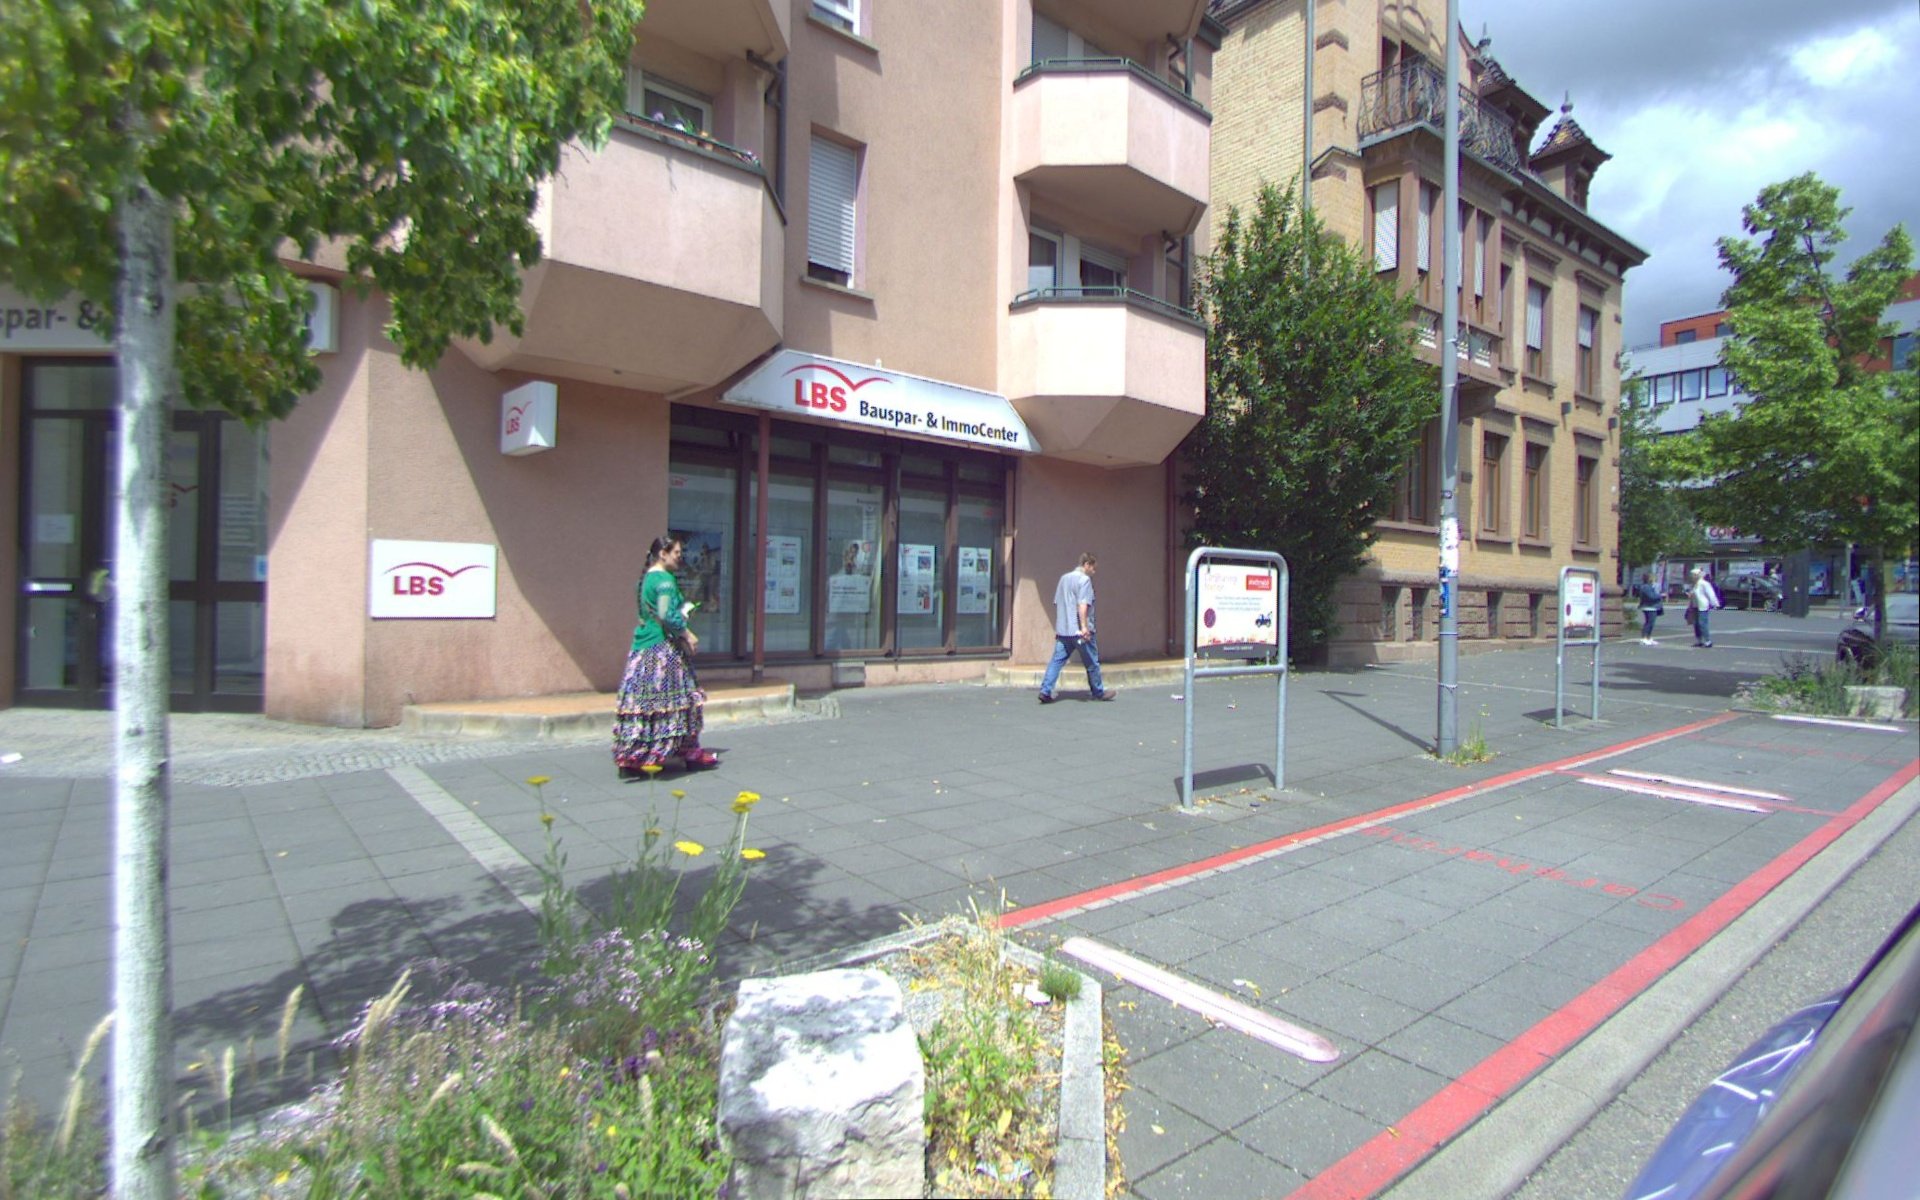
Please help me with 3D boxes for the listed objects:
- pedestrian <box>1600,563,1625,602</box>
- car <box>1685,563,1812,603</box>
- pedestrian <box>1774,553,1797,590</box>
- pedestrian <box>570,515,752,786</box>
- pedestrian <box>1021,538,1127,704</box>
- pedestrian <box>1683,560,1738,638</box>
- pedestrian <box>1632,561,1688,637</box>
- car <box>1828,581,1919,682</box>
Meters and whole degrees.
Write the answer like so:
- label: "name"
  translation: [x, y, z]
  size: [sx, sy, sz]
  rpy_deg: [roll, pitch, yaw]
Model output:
- label: "pedestrian"
  translation: [29.263, -0.786, 45.403]
  size: [0.756, 1.753, 0.749]
  rpy_deg: [-1, 0, 19]
- label: "car"
  translation: [34.771, -0.701, 44.743]
  size: [1.961, 1.672, 4.001]
  rpy_deg: [-1, 0, -33]
- label: "pedestrian"
  translation: [43.801, -1.509, 53.699]
  size: [0.751, 1.937, 0.686]
  rpy_deg: [-2, 0, -30]
- label: "pedestrian"
  translation: [-2.002, 0.294, 6.775]
  size: [0.911, 1.659, 0.746]
  rpy_deg: [1, 2, -40]
- label: "pedestrian"
  translation: [1.242, 0.191, 11.005]
  size: [0.929, 1.706, 0.717]
  rpy_deg: [-2, 3, -43]
- label: "pedestrian"
  translation: [16.459, -0.034, 22.198]
  size: [0.725, 1.679, 0.699]
  rpy_deg: [-2, 1, -28]
- label: "pedestrian"
  translation: [15.657, -0.026, 22.647]
  size: [0.661, 1.660, 0.742]
  rpy_deg: [-1, 0, -14]
- label: "car"
  translation: [15.630, 0.428, 16.077]
  size: [4.651, 1.431, 1.998]
  rpy_deg: [-1, 2, -39]
